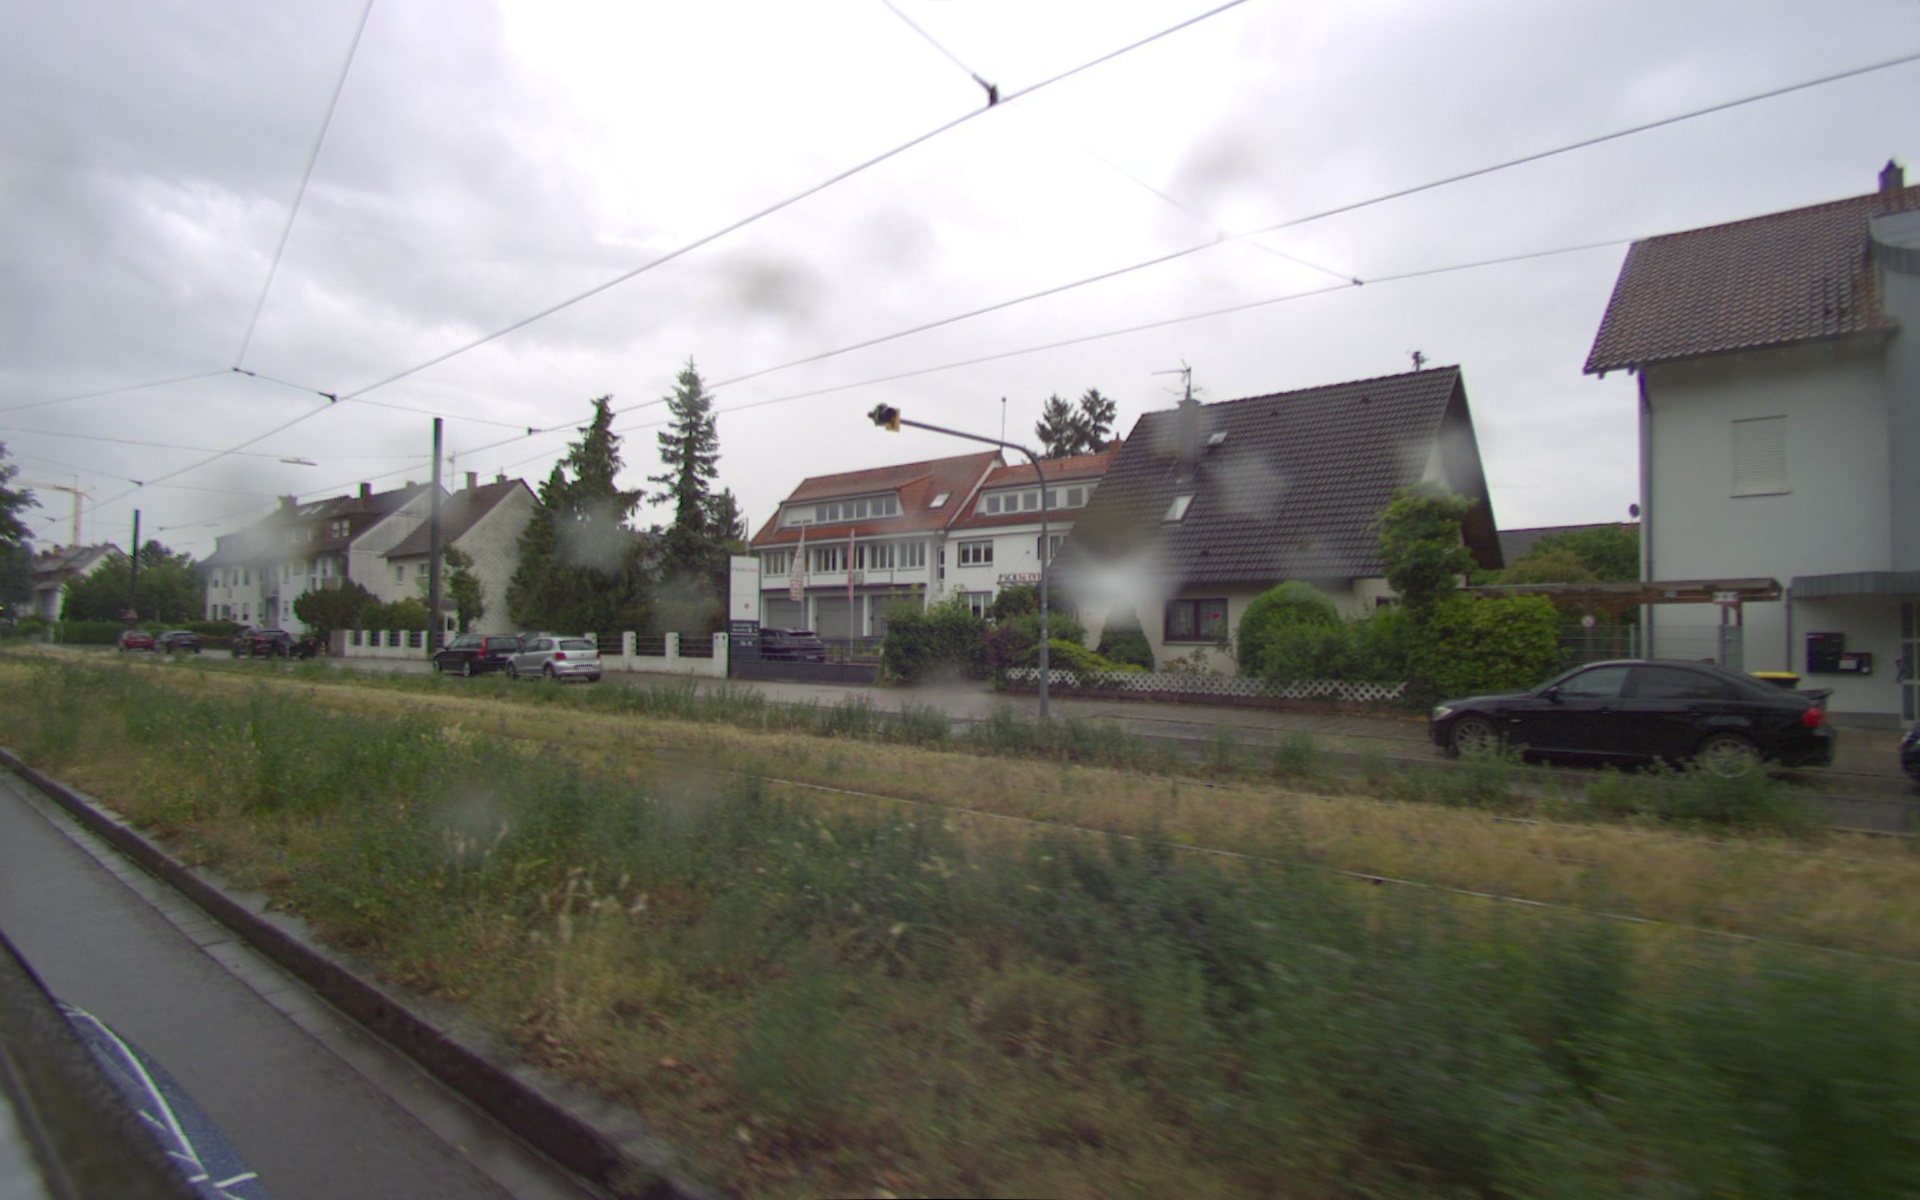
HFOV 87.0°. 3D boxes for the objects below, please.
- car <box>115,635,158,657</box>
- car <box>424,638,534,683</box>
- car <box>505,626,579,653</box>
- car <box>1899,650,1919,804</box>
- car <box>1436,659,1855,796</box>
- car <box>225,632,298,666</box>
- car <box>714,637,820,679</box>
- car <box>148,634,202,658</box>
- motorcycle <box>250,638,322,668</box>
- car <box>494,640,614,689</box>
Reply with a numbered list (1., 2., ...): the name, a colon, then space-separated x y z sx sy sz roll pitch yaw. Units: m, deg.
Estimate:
1. car: -58.287 3.234 71.602 3.999 1.468 1.778 -2 -2 43
2. car: -17.020 2.098 35.724 4.530 1.467 1.972 -2 -2 43
3. car: -25.590 2.392 62.039 1.703 1.551 3.918 -2 -2 40
4. car: 12.055 1.304 10.053 3.868 1.562 1.854 -2 -2 41
5. car: 8.741 1.506 13.120 4.239 1.361 1.972 -2 -2 43
6. car: -36.860 2.552 53.349 4.382 1.687 1.974 -1 -3 39
7. car: -7.071 2.083 36.874 3.968 1.422 1.681 -2 -2 41
8. car: -49.826 2.917 64.194 4.761 1.422 1.972 -2 -2 43
9. motorcycle: -33.143 2.597 49.774 2.645 1.421 1.269 0 -1 -7
10. car: -13.004 2.016 32.364 3.968 1.422 1.973 -2 -2 41
